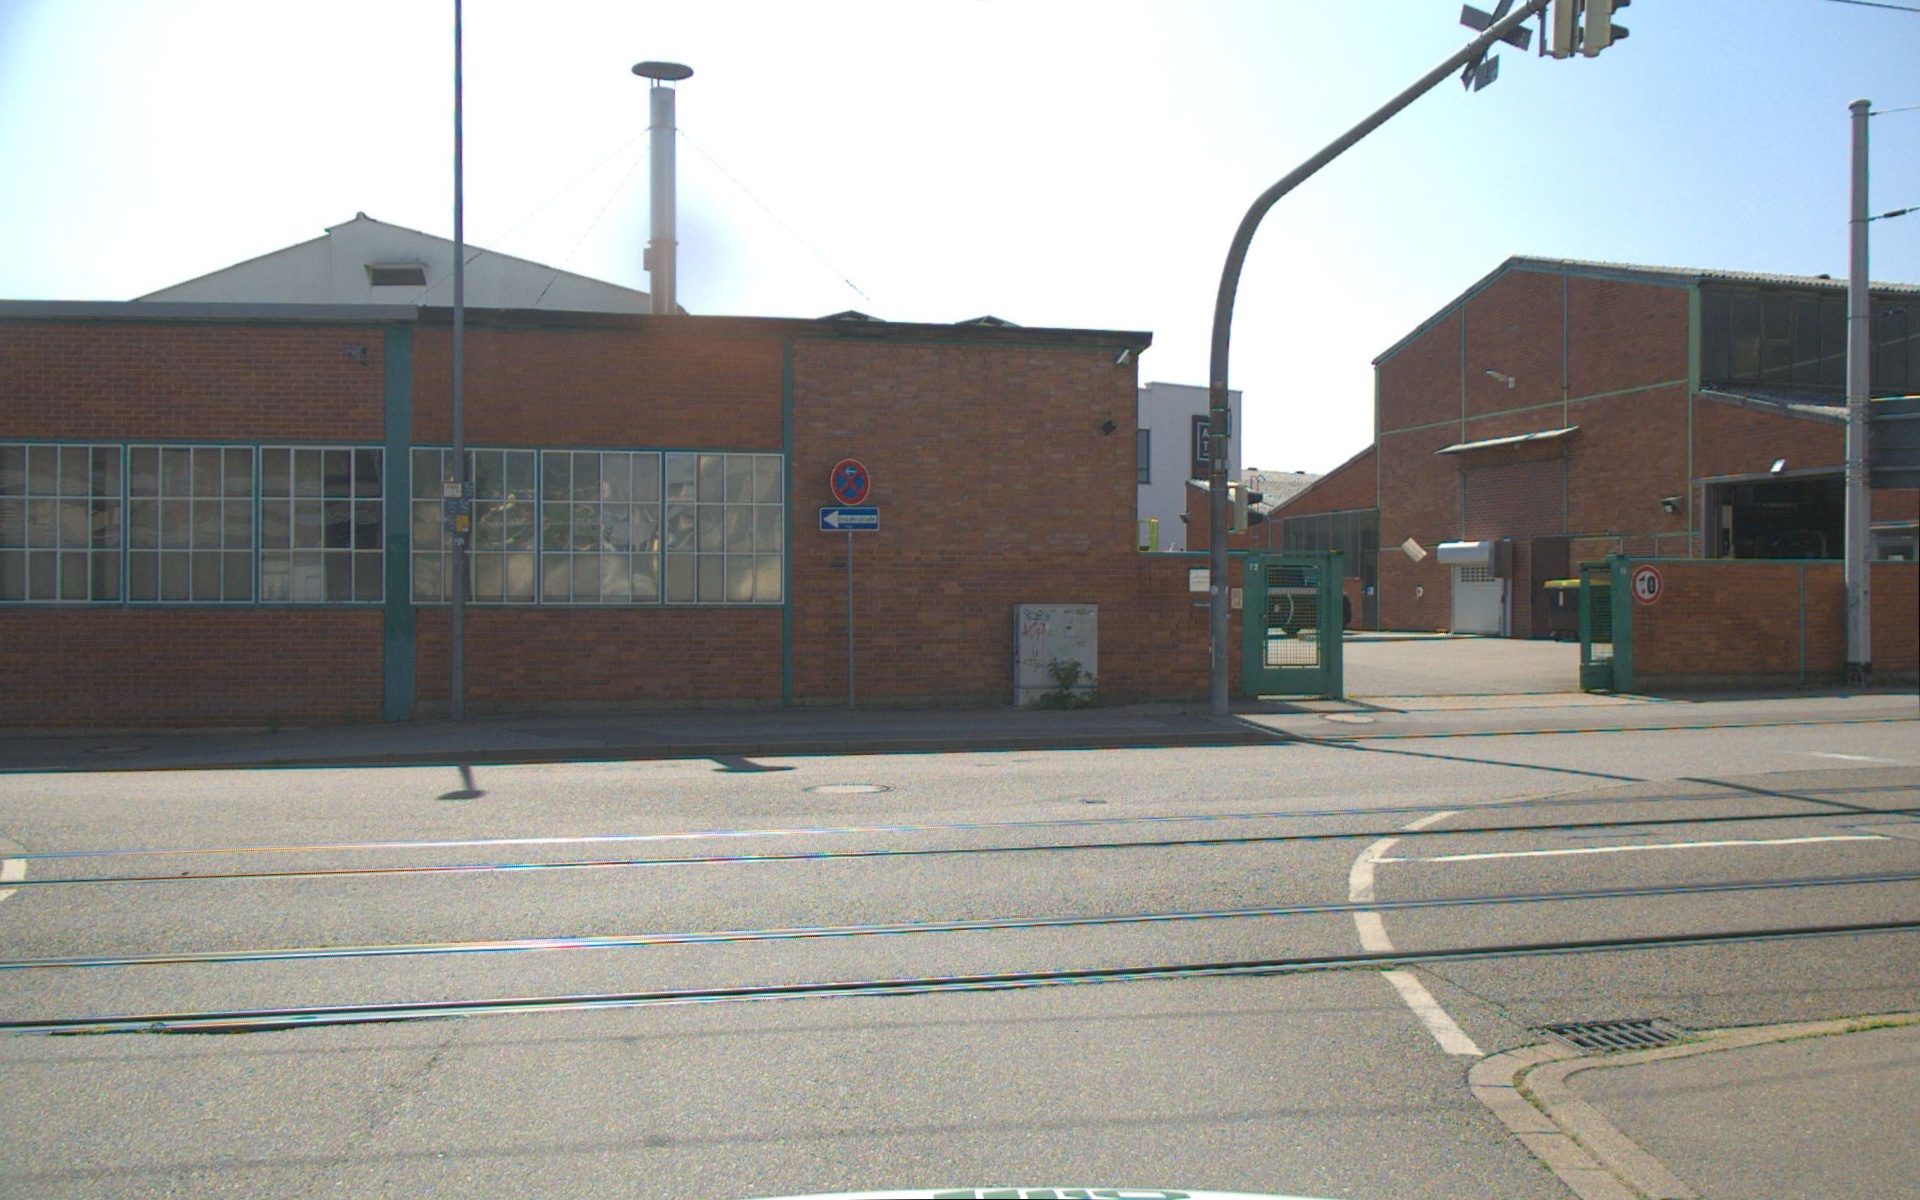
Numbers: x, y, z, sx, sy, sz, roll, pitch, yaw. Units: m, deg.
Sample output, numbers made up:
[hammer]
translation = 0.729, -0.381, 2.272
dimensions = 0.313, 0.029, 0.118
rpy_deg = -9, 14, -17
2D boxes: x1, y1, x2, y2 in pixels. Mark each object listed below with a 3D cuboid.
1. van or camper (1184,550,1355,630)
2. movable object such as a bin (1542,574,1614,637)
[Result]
[van or camper]
translation = 8.218, -0.238, 43.804
dimensions = 4.372, 1.933, 1.975
rpy_deg = 2, -1, -36
[movable object such as a bin]
translation = 13.510, 0.117, 36.184
dimensions = 0.958, 1.337, 1.147
rpy_deg = -1, 0, -16
